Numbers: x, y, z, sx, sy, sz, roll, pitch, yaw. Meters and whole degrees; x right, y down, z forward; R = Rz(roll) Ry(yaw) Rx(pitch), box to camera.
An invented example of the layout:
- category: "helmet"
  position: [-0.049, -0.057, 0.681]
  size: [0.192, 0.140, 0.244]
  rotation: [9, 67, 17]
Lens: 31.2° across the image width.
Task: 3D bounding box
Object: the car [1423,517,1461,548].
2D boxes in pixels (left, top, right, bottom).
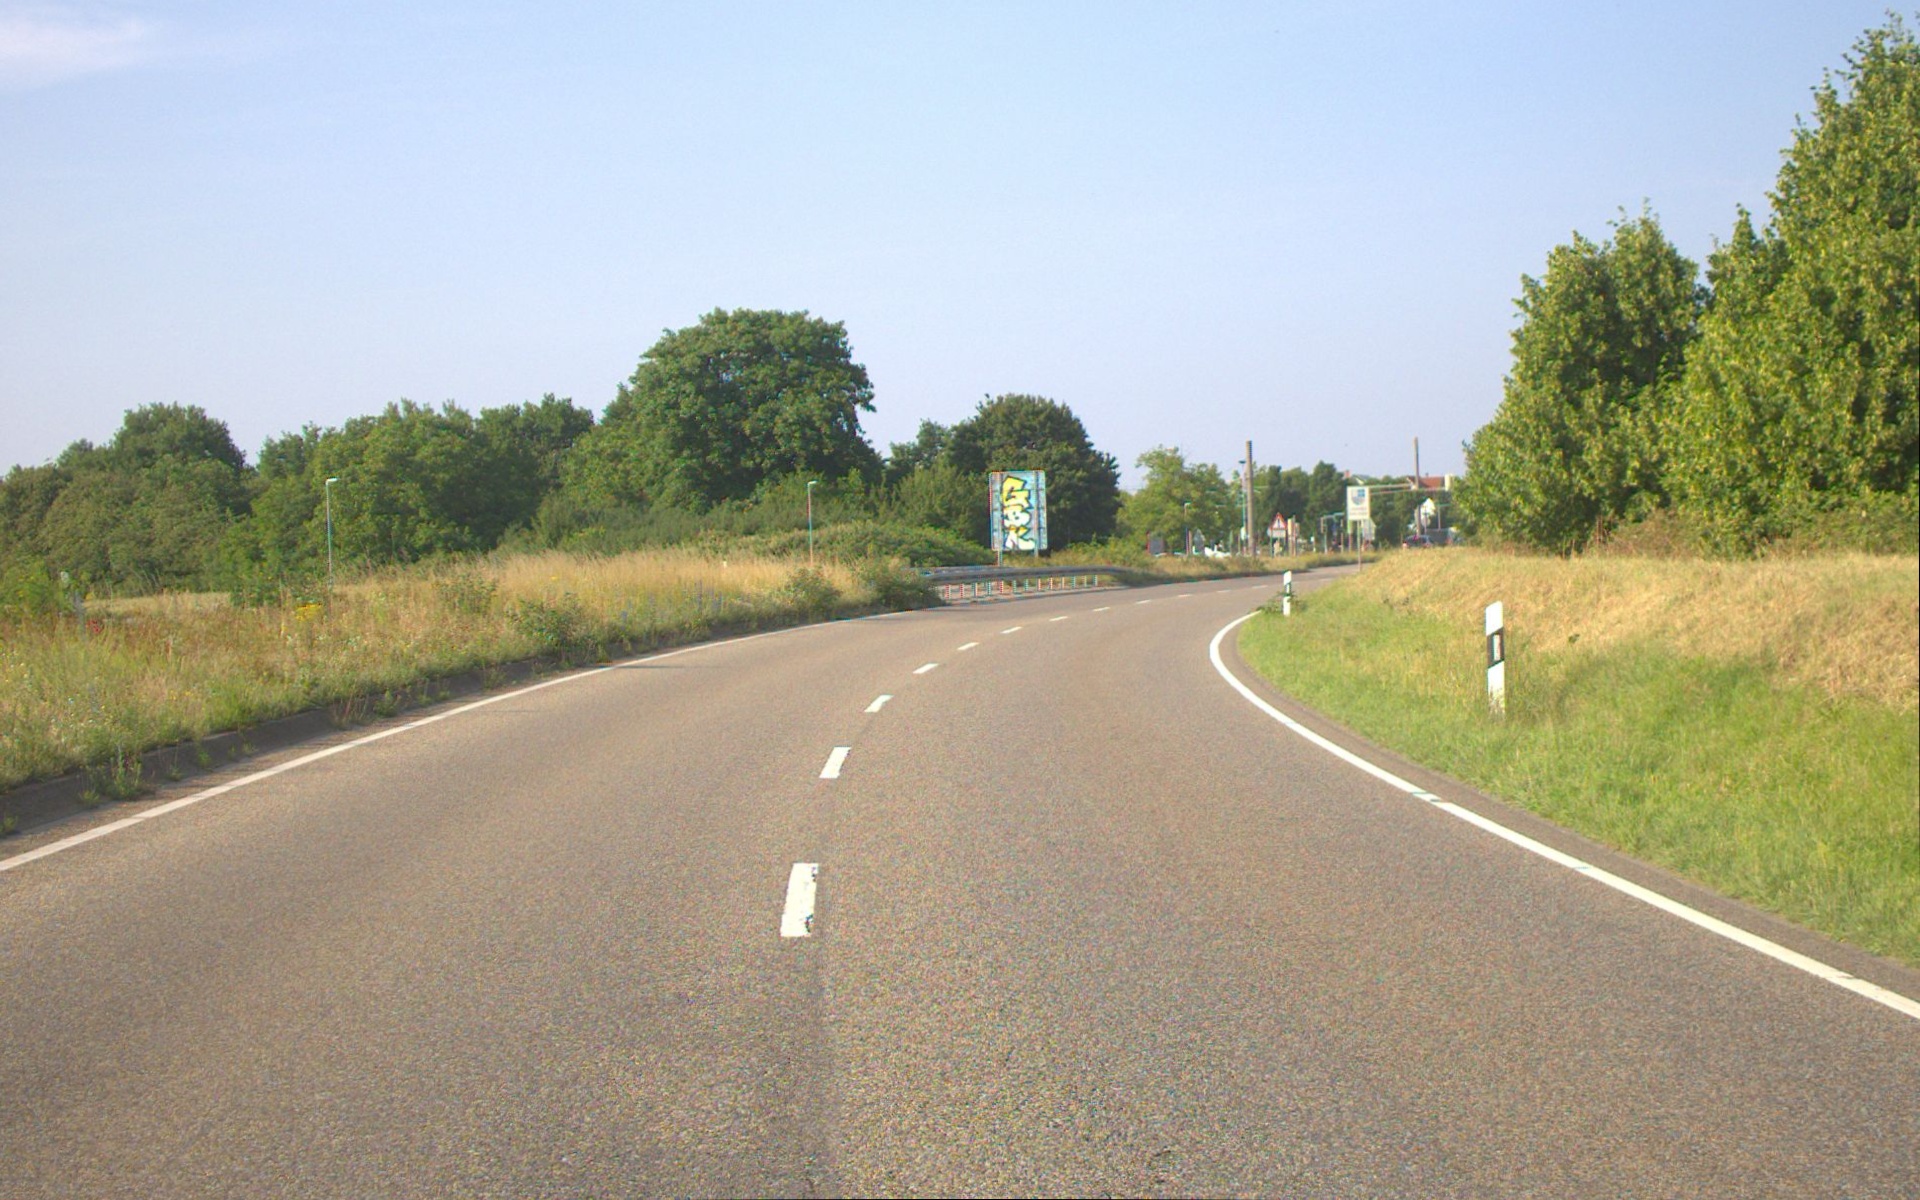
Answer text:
- category: "car"
  position: [29.687, -4.159, 211.615]
  size: [1.733, 1.849, 4.517]
  rotation: [-1, 1, 16]

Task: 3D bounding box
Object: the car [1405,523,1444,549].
- category: "car"
  position: [27.697, -3.812, 204.904]
  size: [1.733, 1.451, 4.517]
  rotation: [-1, 1, 16]
